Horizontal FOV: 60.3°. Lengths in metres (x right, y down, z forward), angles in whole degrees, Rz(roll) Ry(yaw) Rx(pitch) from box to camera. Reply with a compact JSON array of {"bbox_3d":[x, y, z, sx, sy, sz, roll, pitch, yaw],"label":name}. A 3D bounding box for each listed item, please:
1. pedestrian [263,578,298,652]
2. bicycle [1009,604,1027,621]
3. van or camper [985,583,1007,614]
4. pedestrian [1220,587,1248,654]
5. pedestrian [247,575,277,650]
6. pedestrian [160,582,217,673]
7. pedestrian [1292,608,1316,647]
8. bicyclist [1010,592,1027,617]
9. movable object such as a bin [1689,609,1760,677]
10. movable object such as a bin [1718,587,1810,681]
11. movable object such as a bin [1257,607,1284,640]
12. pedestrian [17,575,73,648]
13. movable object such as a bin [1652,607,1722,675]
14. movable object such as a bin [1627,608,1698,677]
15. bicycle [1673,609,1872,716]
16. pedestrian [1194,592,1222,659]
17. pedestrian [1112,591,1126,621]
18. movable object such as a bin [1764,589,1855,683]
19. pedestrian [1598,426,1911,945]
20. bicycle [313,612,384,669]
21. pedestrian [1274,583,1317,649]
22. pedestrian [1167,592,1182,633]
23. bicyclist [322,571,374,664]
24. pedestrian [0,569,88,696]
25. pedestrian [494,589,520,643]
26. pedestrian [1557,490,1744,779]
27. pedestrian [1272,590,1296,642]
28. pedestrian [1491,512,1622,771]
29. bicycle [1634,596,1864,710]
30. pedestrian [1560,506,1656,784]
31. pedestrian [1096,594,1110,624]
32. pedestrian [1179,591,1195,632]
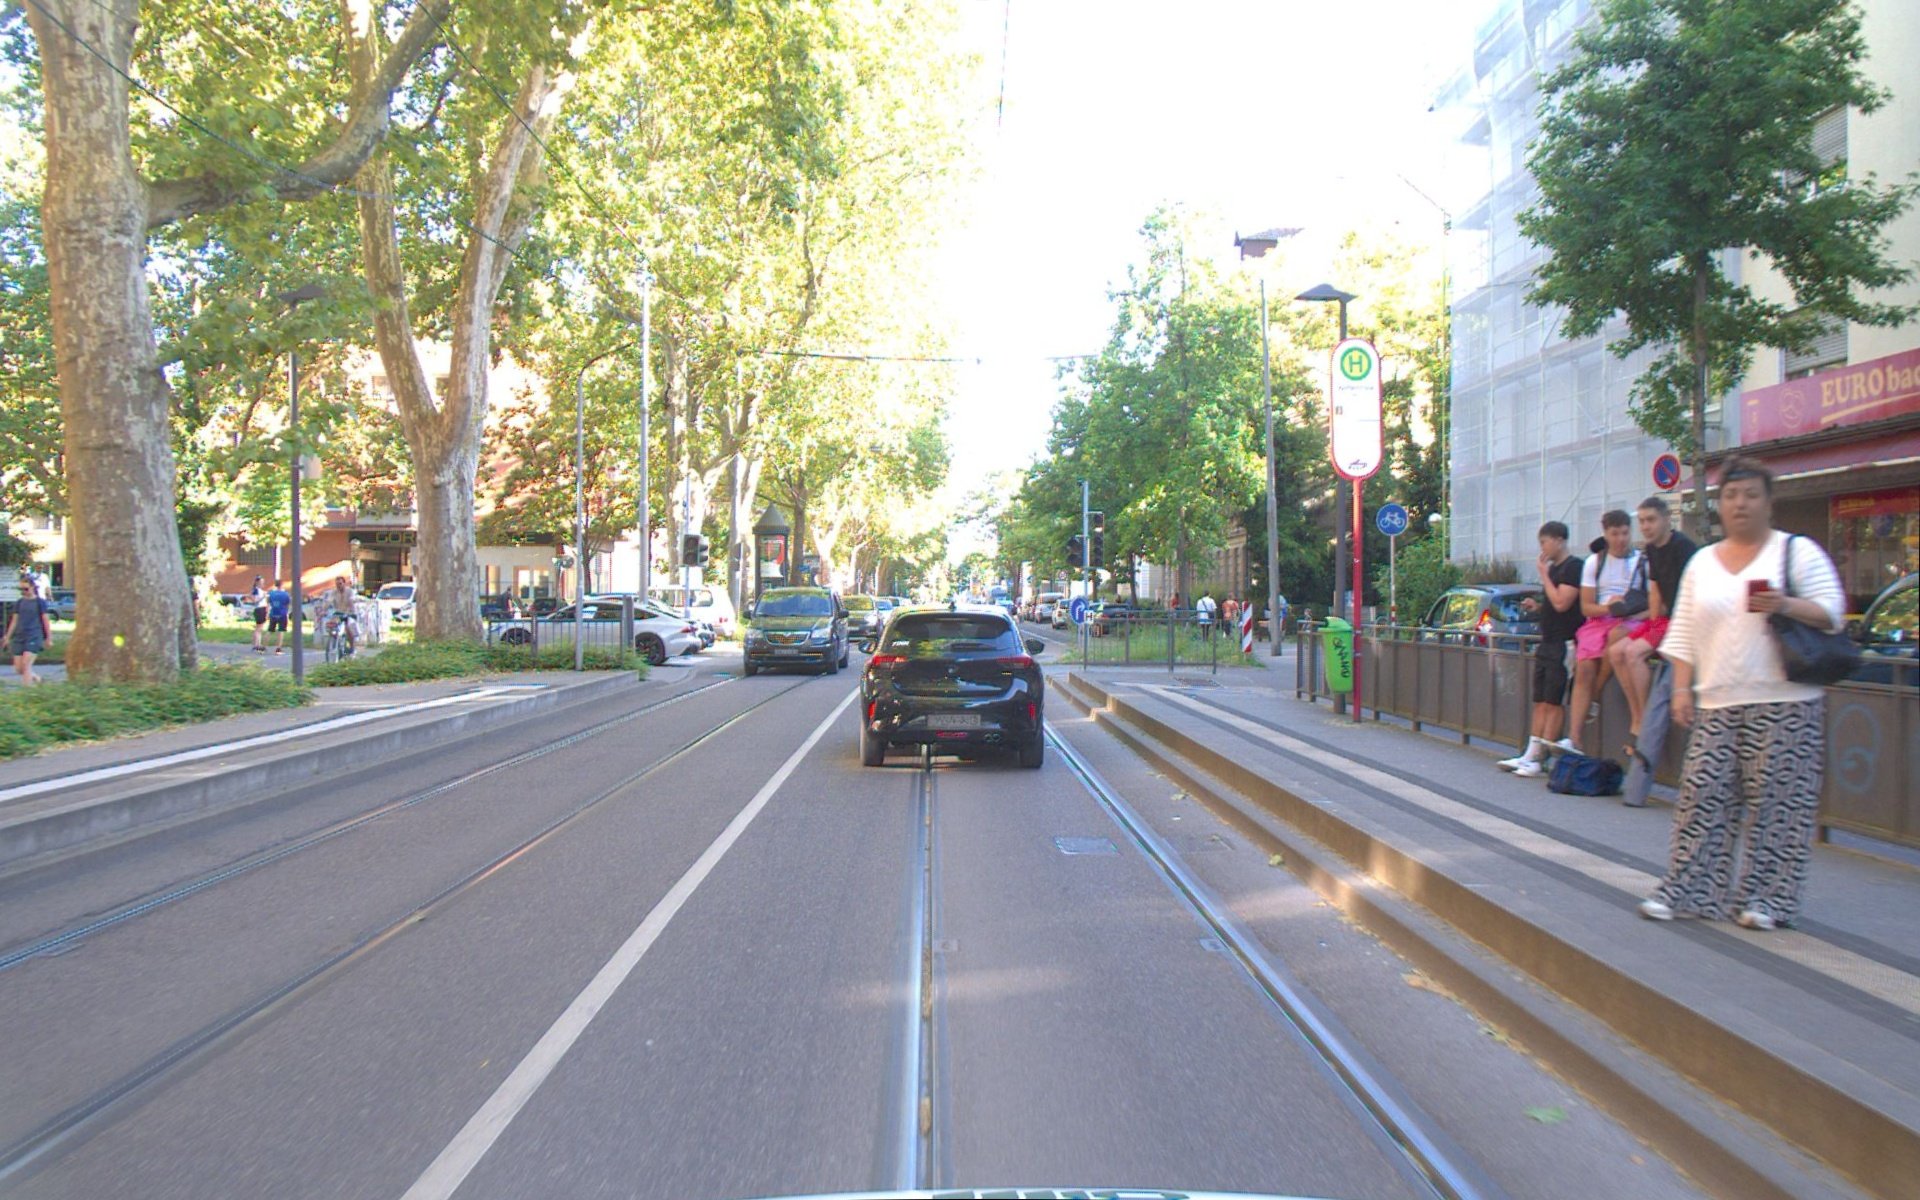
[{"bbox_3d":[-15.557,0.344,37.862,0.686,1.688,0.557,1,-1,-28],"label":"pedestrian"},{"bbox_3d":[3.707,0.791,105.211,0.948,1.016,2.582,1,0,-2],"label":"bicycle"},{"bbox_3d":[3.955,-0.142,181.672,2.208,3.272,5.529,-1,0,-1],"label":"van or camper"},{"bbox_3d":[7.544,0.558,45.517,0.710,1.824,0.969,-2,0,10],"label":"pedestrian"},{"bbox_3d":[-16.329,0.298,38.705,0.526,1.735,0.586,1,-1,-32],"label":"pedestrian"},{"bbox_3d":[-14.702,0.526,31.529,0.695,1.702,0.779,1,-1,-1],"label":"pedestrian"},{"bbox_3d":[10.253,0.811,49.299,0.660,1.138,0.660,1,-1,10],"label":"pedestrian"},{"bbox_3d":[3.707,0.286,105.188,0.939,1.525,1.093,1,0,-3],"label":"bicyclist"},{"bbox_3d":[13.205,0.738,28.572,0.863,1.130,0.696,-1,0,-3],"label":"movable object such as a bin"},{"bbox_3d":[12.517,0.519,25.773,0.979,1.421,0.824,-1,0,-3],"label":"movable object such as a bin"},{"bbox_3d":[10.944,0.812,58.392,0.653,1.146,0.955,1,0,-8],"label":"movable object such as a bin"},{"bbox_3d":[-22.484,0.288,40.628,0.828,1.767,0.912,1,-1,35],"label":"pedestrian"},{"bbox_3d":[12.561,0.703,28.580,0.863,1.130,0.696,-1,0,-3],"label":"movable object such as a bin"},{"bbox_3d":[11.859,0.710,27.934,0.863,1.130,0.696,-1,0,-3],"label":"movable object such as a bin"},{"bbox_3d":[9.933,0.743,20.313,0.675,1.231,2.190,-1,0,-29],"label":"bicycle"},{"bbox_3d":[6.801,0.691,45.376,0.710,1.824,0.854,-2,0,10],"label":"pedestrian"},{"bbox_3d":[9.217,0.358,95.943,0.711,1.739,0.856,1,-1,-1],"label":"pedestrian"},{"bbox_3d":[12.779,0.538,24.905,0.905,1.374,0.824,-1,0,-3],"label":"movable object such as a bin"},{"bbox_3d":[2.908,0.289,6.079,0.632,1.742,0.826,1,-1,-35],"label":"pedestrian"},{"bbox_3d":[-12.239,0.794,33.165,0.700,1.082,1.839,1,0,0],"label":"bicycle"},{"bbox_3d":[10.006,0.475,49.343,0.854,1.918,0.993,1,-1,-19],"label":"pedestrian"},{"bbox_3d":[9.754,0.564,75.144,0.586,1.824,0.729,1,-1,12],"label":"pedestrian"},{"bbox_3d":[-12.219,0.347,33.049,0.685,1.819,0.839,1,-1,0],"label":"bicyclist"},{"bbox_3d":[-12.736,0.443,22.937,0.723,1.701,0.968,1,0,0],"label":"pedestrian"},{"bbox_3d":[-15.670,0.540,57.239,0.630,1.841,0.752,1,-1,4],"label":"pedestrian"},{"bbox_3d":[4.302,0.212,10.340,0.828,1.730,0.692,1,-1,-7],"label":"pedestrian"},{"bbox_3d":[11.231,0.552,57.341,0.607,1.756,0.552,1,-1,-14],"label":"pedestrian"},{"bbox_3d":[4.226,0.291,11.742,0.674,1.786,0.579,1,-1,-7],"label":"pedestrian"},{"bbox_3d":[9.161,0.597,19.278,2.159,1.231,1.029,-2,0,-1],"label":"bicycle"},{"bbox_3d":[4.336,0.290,11.095,0.482,1.801,0.704,1,-1,14],"label":"pedestrian"},{"bbox_3d":[8.274,0.527,95.963,0.711,1.722,0.956,1,-1,-1],"label":"pedestrian"},{"bbox_3d":[10.193,0.525,74.258,0.586,1.824,0.728,1,-1,-4],"label":"pedestrian"}]
